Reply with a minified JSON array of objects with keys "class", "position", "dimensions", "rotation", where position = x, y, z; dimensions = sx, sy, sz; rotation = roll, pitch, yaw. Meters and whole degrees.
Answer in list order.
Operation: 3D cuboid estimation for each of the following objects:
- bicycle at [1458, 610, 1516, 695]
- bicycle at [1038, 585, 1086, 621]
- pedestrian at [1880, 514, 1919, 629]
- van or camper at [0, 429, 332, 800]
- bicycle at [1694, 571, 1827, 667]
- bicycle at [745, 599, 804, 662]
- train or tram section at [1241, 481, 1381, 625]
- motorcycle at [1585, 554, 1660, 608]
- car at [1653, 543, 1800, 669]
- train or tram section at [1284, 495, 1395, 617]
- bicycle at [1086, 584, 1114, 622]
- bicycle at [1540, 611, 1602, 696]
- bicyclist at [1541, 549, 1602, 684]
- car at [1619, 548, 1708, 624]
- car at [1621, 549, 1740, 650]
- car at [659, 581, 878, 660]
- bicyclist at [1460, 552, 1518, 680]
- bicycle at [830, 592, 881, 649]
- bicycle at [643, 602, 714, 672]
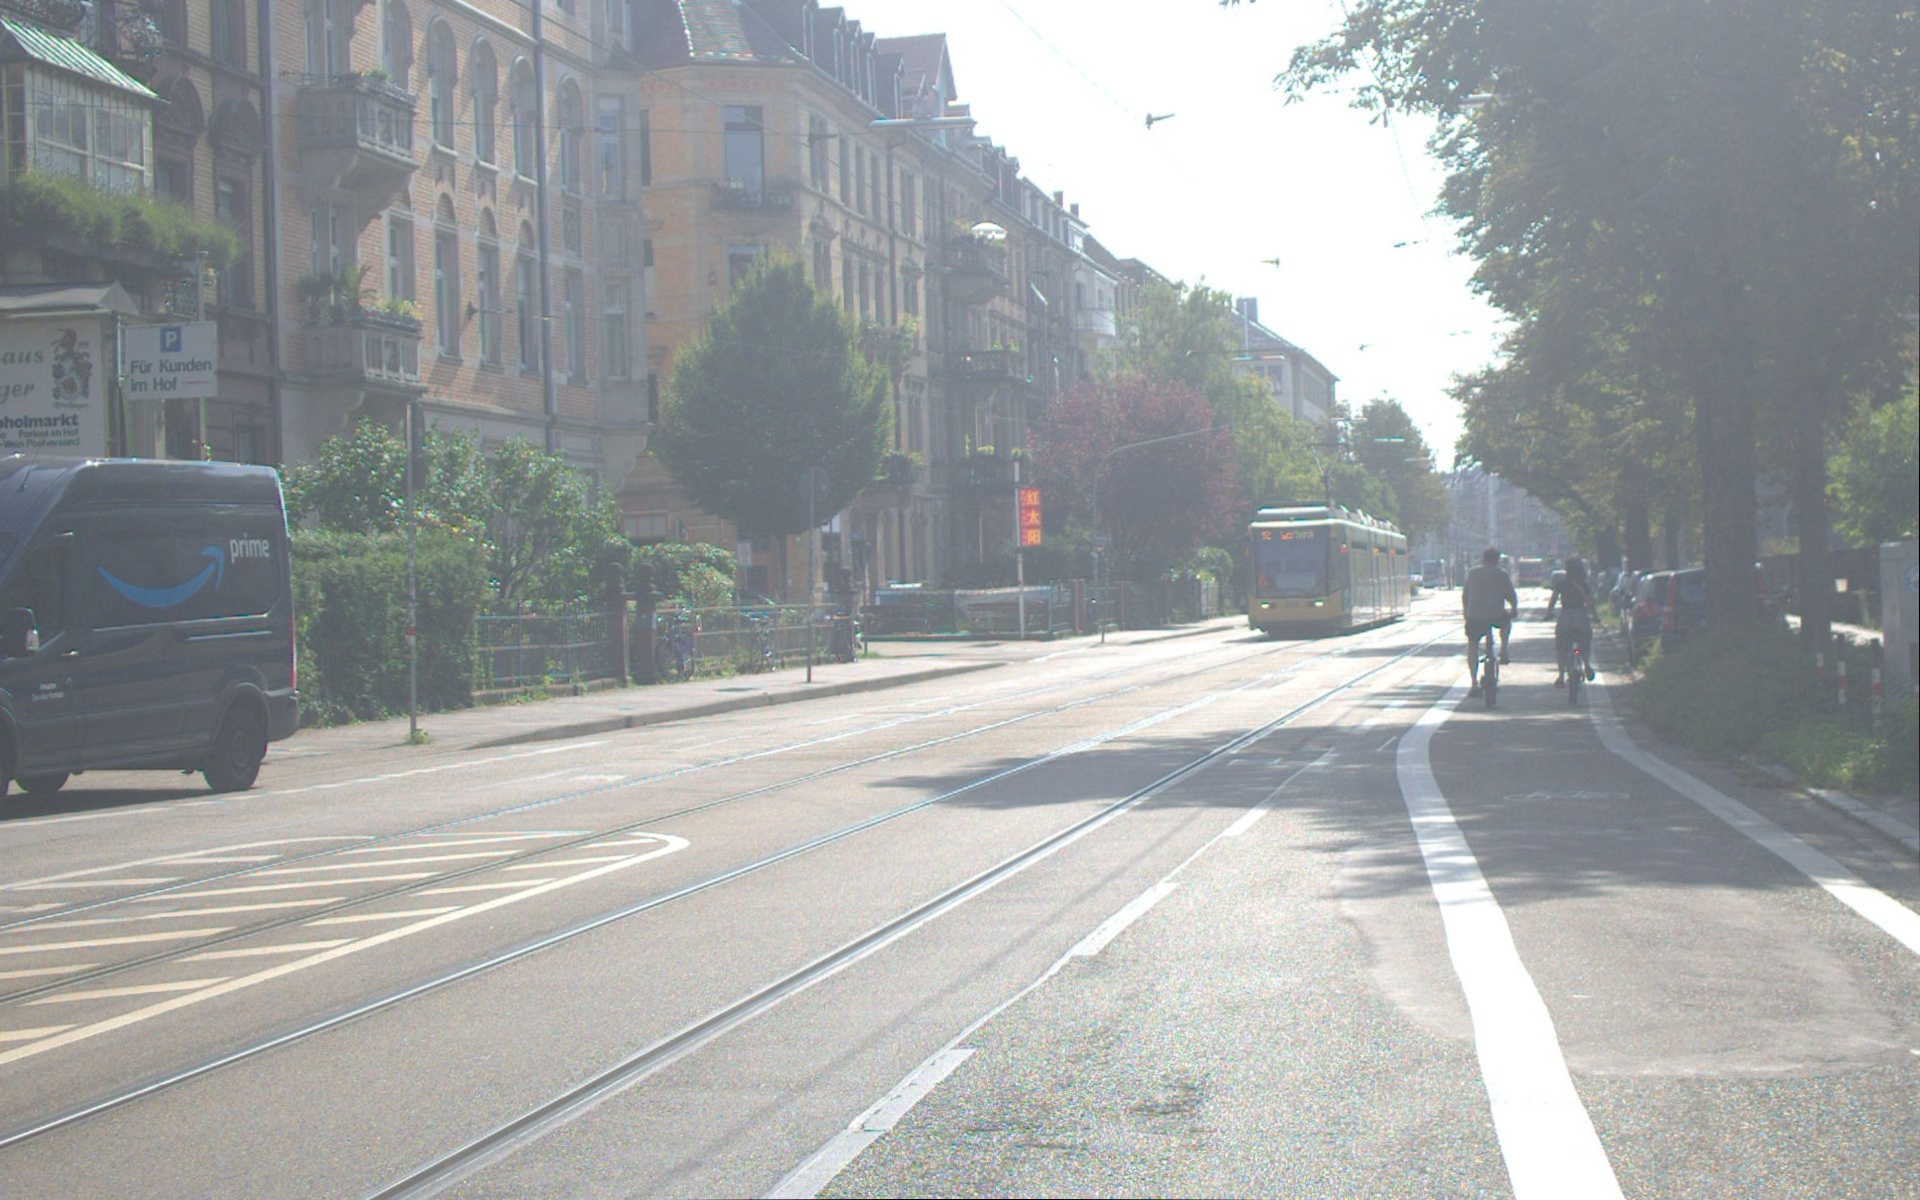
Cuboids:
[{"class":"bicycle","position":[5.875,0.576,38.279],"dimensions":[0.626,0.906,1.524],"rotation":[0,0,9]},{"class":"bicycle","position":[2.992,0.081,100.809],"dimensions":[1.358,1.056,0.417],"rotation":[0,0,8]},{"class":"pedestrian","position":[14.590,-0.445,52.946],"dimensions":[0.753,1.743,0.877],"rotation":[-2,0,17]},{"class":"van or camper","position":[-7.257,0.126,26.615],"dimensions":[2.052,2.635,6.085],"rotation":[-2,0,17]},{"class":"bicycle","position":[9.378,0.216,40.248],"dimensions":[1.723,1.069,0.525],"rotation":[-2,0,-38]},{"class":"bicycle","position":[-3.244,0.525,60.179],"dimensions":[0.545,1.054,1.838],"rotation":[2,1,12]},{"class":"train or tram section","position":[9.673,-1.245,93.230],"dimensions":[2.735,3.494,15.427],"rotation":[-1,0,9]},{"class":"motorcycle","position":[22.305,-0.636,115.868],"dimensions":[0.911,1.668,2.419],"rotation":[-4,0,-35]},{"class":"car","position":[10.414,0.059,46.554],"dimensions":[1.646,1.535,3.839],"rotation":[-4,0,16]},{"class":"train or tram section","position":[11.808,-1.344,106.197],"dimensions":[2.735,3.494,10.772],"rotation":[-1,0,9]},{"class":"bicycle","position":[4.150,0.091,101.642],"dimensions":[0.508,1.104,2.002],"rotation":[-2,0,10]},{"class":"bicycle","position":[6.761,0.579,38.083],"dimensions":[0.654,0.906,1.774],"rotation":[0,0,9]},{"class":"bicyclist","position":[6.766,0.176,38.064],"dimensions":[0.654,1.469,0.908],"rotation":[0,0,9]},{"class":"car","position":[15.413,-0.305,75.465],"dimensions":[1.690,1.497,4.094],"rotation":[-4,-1,10]},{"class":"car","position":[11.375,-0.022,54.445],"dimensions":[1.646,1.443,4.244],"rotation":[-4,0,10]},{"class":"car","position":[-3.940,0.424,70.962],"dimensions":[4.138,1.538,2.063],"rotation":[-1,-1,10]},{"class":"bicyclist","position":[5.893,0.173,38.284],"dimensions":[0.626,1.396,0.929],"rotation":[0,0,9]},{"class":"bicycle","position":[-2.037,0.389,67.097],"dimensions":[0.545,1.054,1.838],"rotation":[2,1,12]},{"class":"bicycle","position":[-4.442,0.576,54.345],"dimensions":[0.607,1.054,1.838],"rotation":[2,1,12]}]
